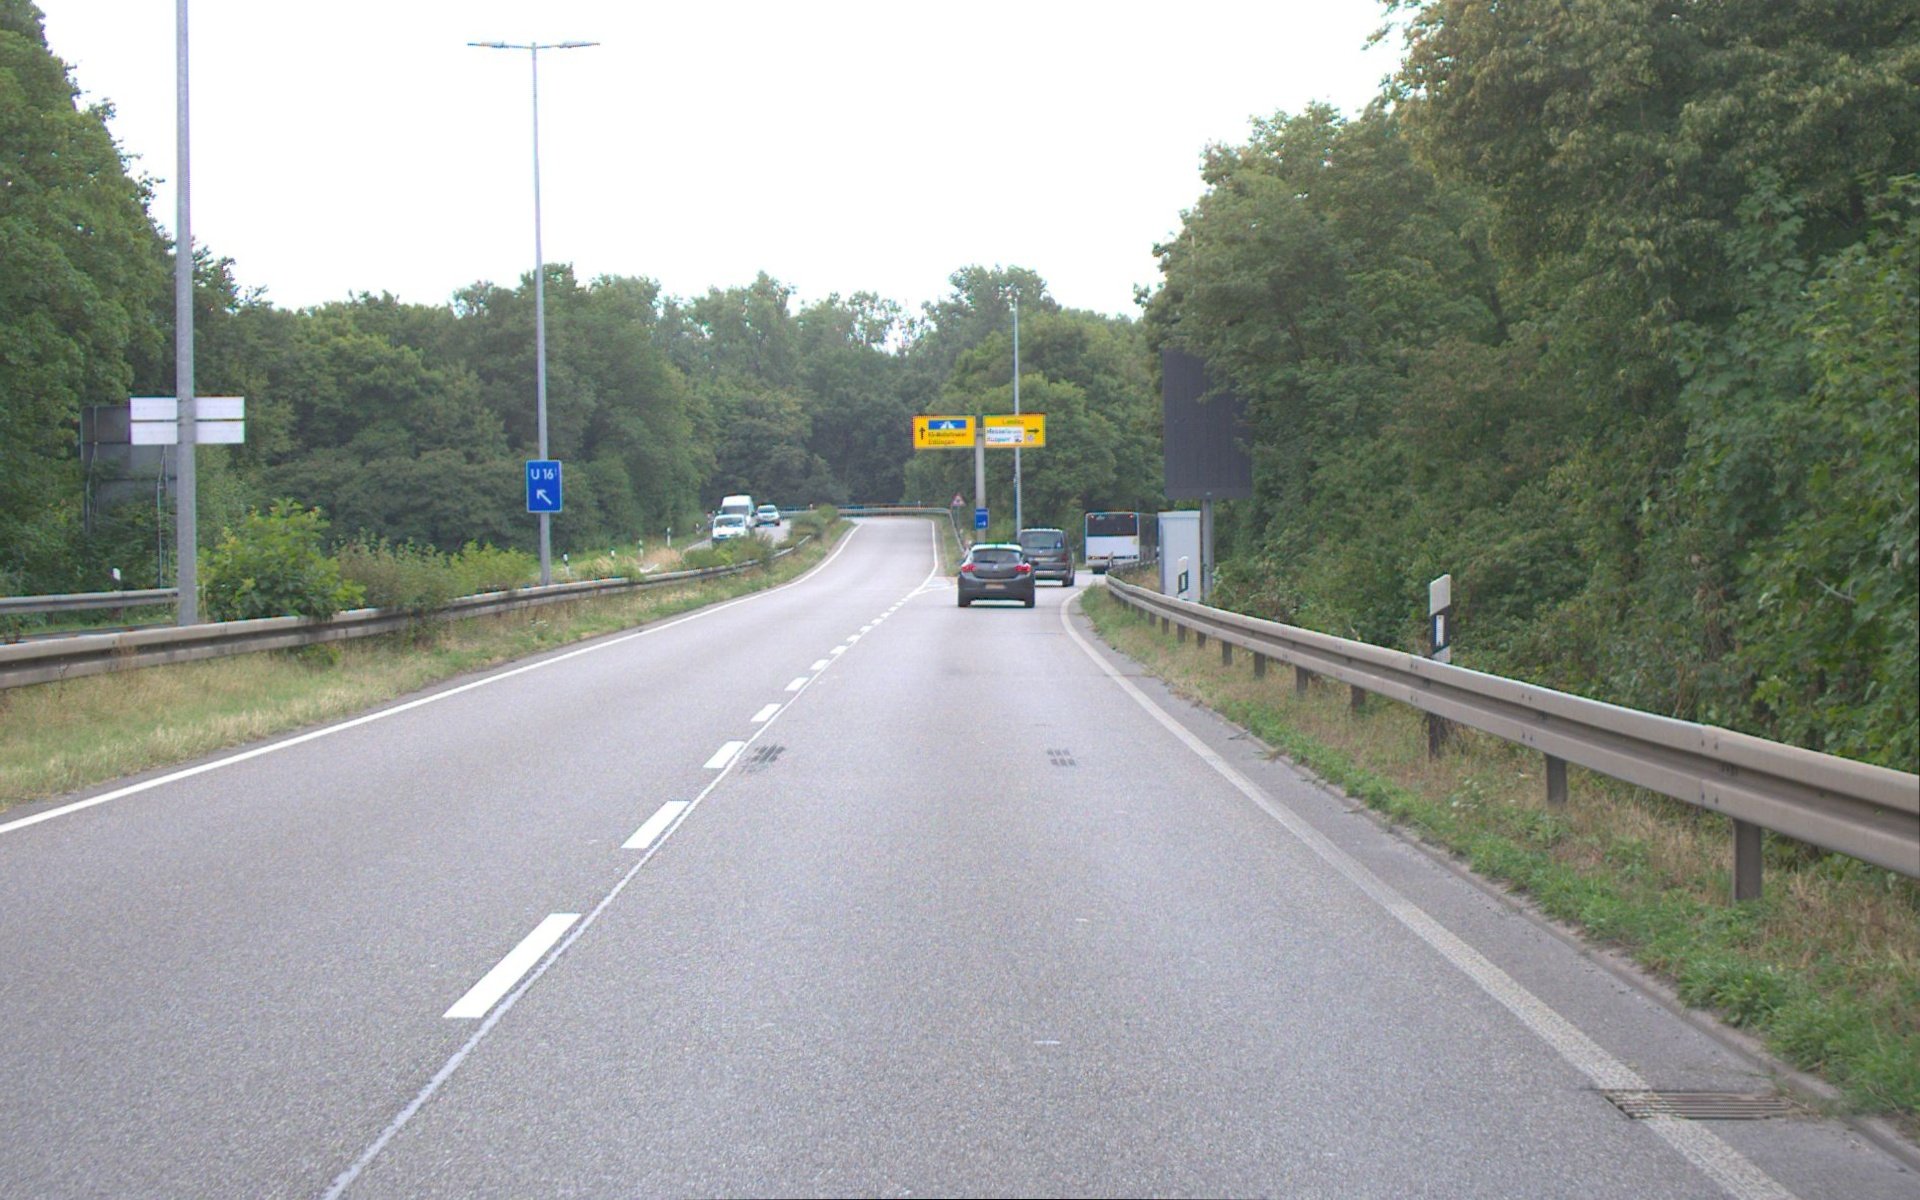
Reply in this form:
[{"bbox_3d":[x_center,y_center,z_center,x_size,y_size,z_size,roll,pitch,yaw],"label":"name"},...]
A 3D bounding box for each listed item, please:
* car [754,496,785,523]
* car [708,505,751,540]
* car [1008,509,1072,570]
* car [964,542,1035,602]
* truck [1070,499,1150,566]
[{"bbox_3d":[-14.079,-6.688,254.295,1.993,2.006,4.000,0,2,1],"label":"car"},{"bbox_3d":[-12.537,-4.218,187.277,1.993,1.840,4.000,0,2,1],"label":"car"},{"bbox_3d":[2.725,-2.051,118.189,2.148,2.007,4.000,0,0,1],"label":"car"},{"bbox_3d":[0.941,-0.636,81.058,1.625,1.373,4.000,0,0,1],"label":"car"},{"bbox_3d":[6.853,-3.037,155.826,2.981,2.875,7.988,0,0,7],"label":"truck"}]
